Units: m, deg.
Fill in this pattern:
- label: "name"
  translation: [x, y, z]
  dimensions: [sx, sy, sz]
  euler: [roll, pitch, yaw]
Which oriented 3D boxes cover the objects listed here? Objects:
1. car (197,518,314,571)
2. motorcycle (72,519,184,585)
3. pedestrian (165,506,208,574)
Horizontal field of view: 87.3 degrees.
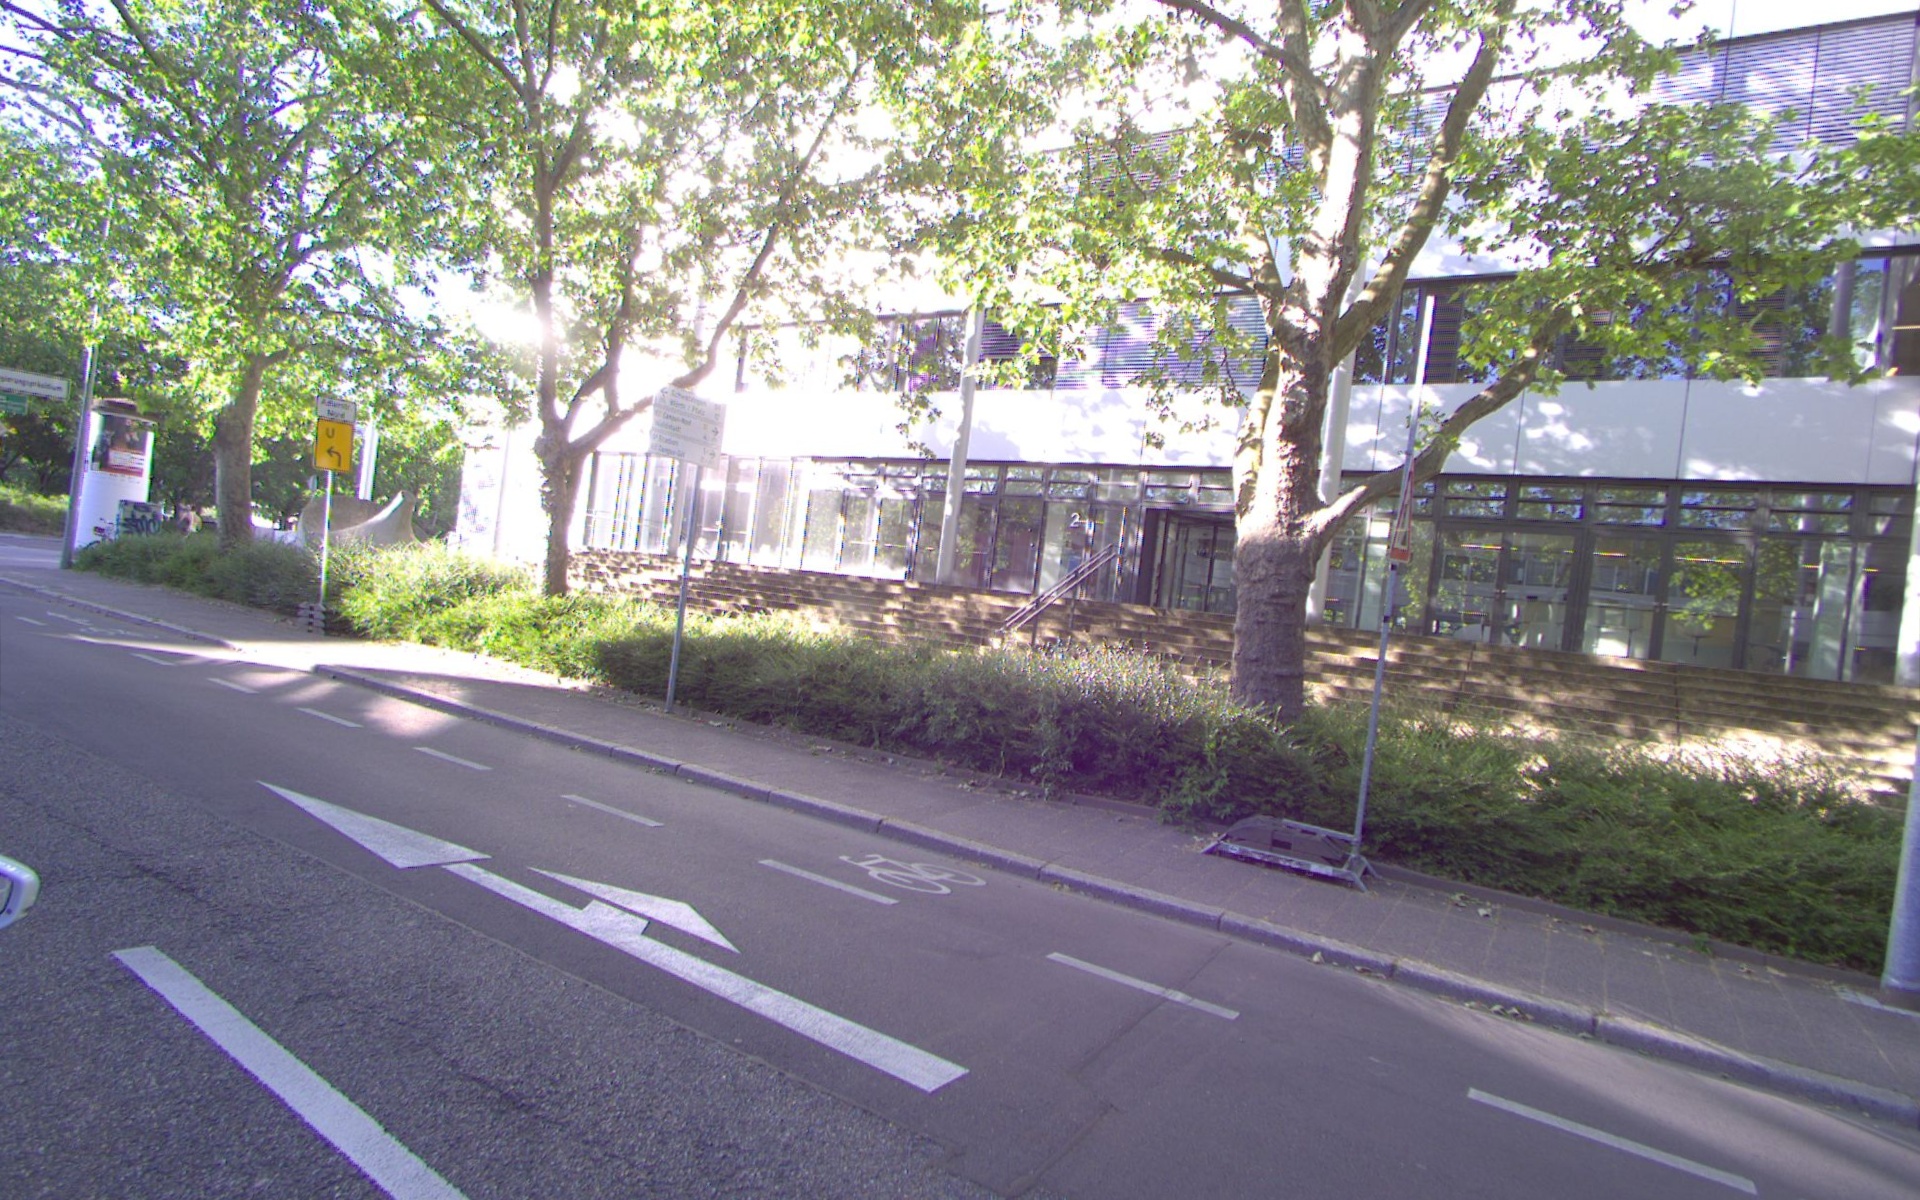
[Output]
- label: "car"
  translation: [-32.705, -2.563, 46.824]
  dimensions: [1.708, 1.792, 3.996]
  euler: [7, -1, 30]
- label: "motorcycle"
  translation: [-19.230, -1.094, 23.283]
  dimensions: [0.712, 1.257, 1.782]
  euler: [6, -2, 37]
- label: "pedestrian"
  translation: [-22.401, -1.736, 29.134]
  dimensions: [0.656, 1.849, 0.648]
  euler: [7, 0, 31]
